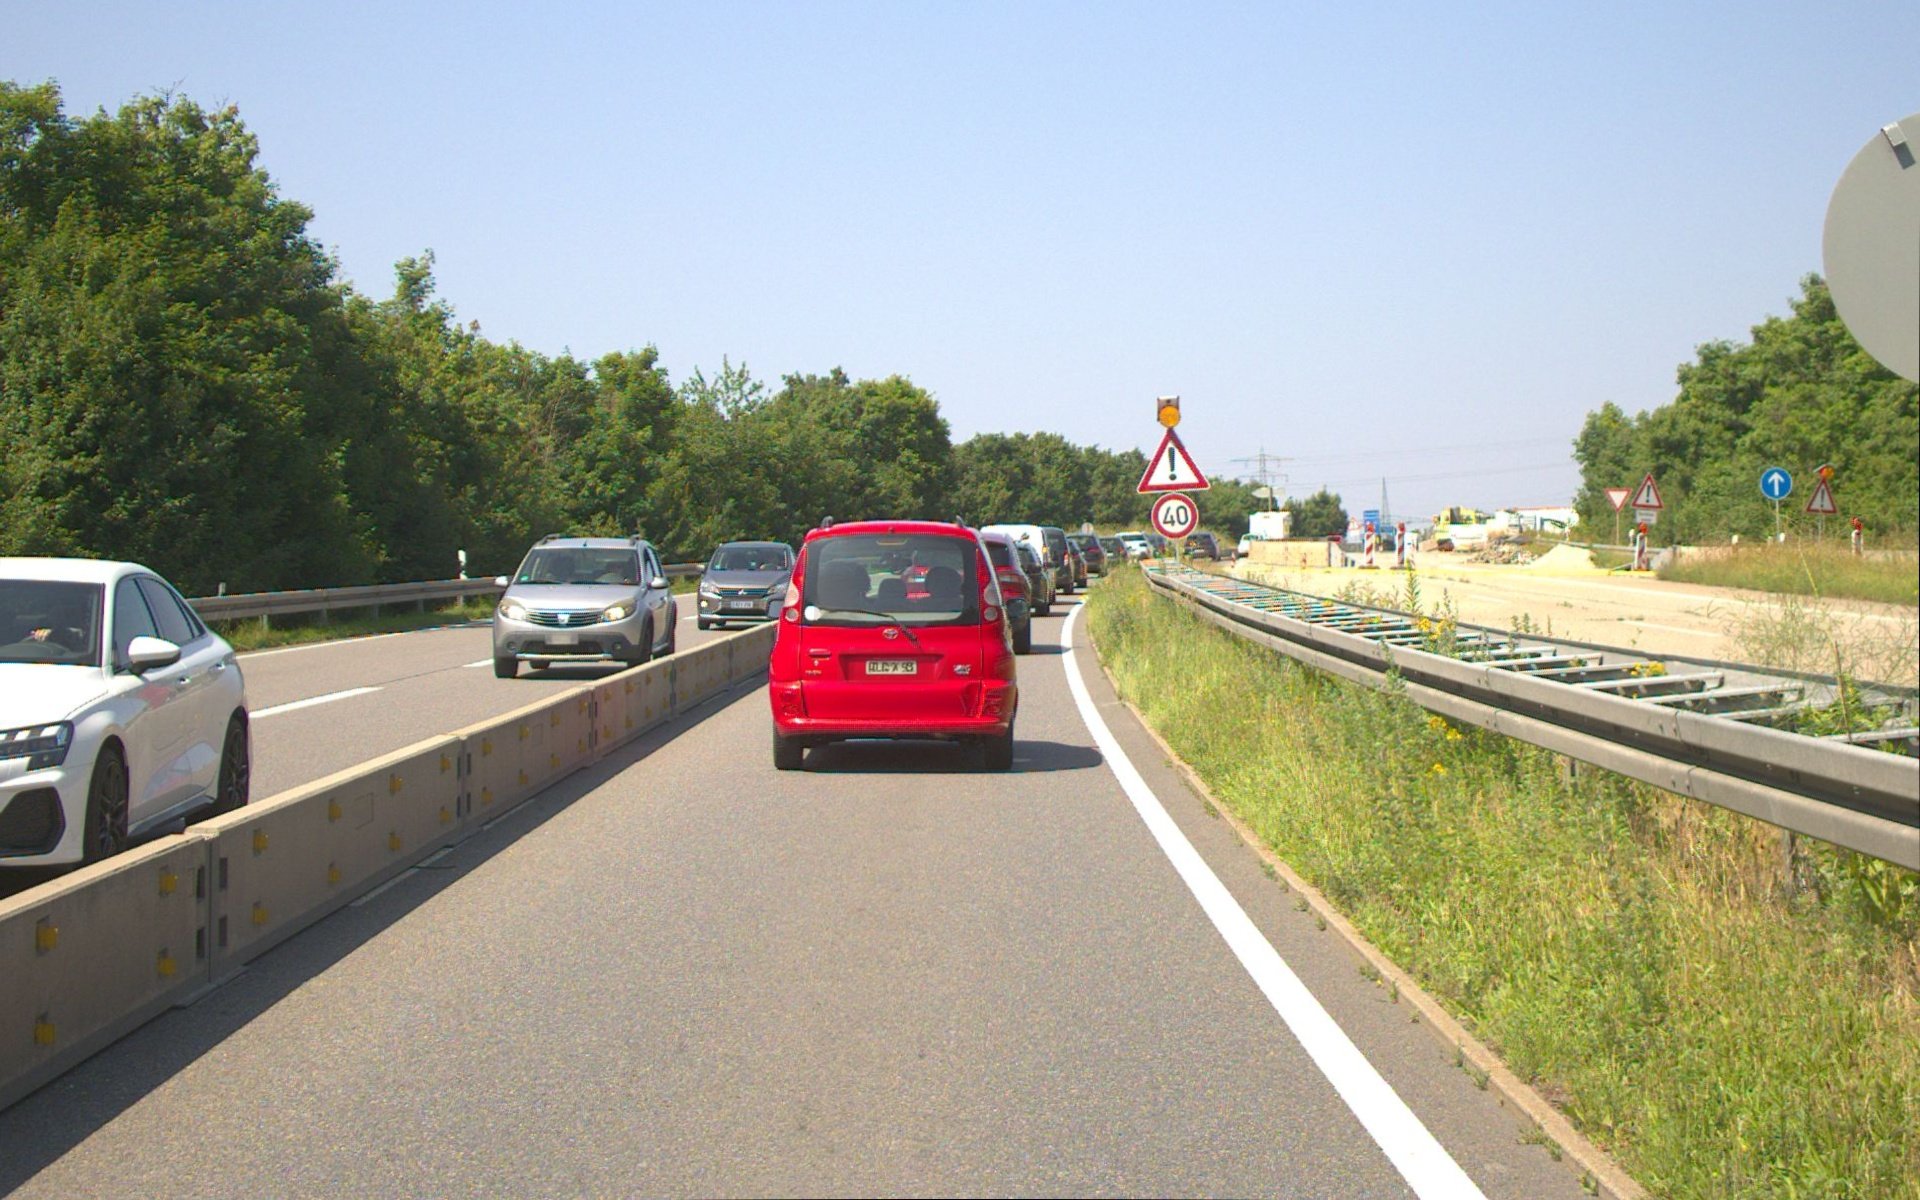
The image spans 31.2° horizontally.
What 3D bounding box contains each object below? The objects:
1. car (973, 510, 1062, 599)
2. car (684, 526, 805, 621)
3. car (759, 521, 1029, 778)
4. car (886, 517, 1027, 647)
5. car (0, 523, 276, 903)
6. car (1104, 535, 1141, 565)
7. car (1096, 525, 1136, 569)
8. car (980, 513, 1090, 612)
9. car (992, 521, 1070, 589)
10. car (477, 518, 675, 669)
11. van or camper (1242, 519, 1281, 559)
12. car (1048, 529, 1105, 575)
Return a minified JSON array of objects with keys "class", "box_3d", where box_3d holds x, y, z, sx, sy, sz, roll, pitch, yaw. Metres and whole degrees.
[{"class":"car","box_3d":[1.309,-1.070,79.726,1.993,1.997,4.000,0,1,1]},{"class":"car","box_3d":[-3.680,-0.461,59.344,1.948,1.573,4.436,0,1,-2]},{"class":"car","box_3d":[-0.475,0.286,24.292,1.751,1.667,4.000,0,1,-1]},{"class":"car","box_3d":[-0.088,-0.275,47.636,1.830,1.716,4.000,-1,1,-2]},{"class":"car","box_3d":[-4.587,0.418,16.119,1.948,1.533,4.436,0,1,-1]},{"class":"car","box_3d":[7.128,-2.193,150.557,1.421,1.294,2.878,-1,1,6]},{"class":"car","box_3d":[6.209,-2.101,136.818,1.502,1.730,3.169,1,1,4]},{"class":"car","box_3d":[1.433,-0.736,66.832,1.993,1.831,4.000,-1,1,0]},{"class":"car","box_3d":[1.878,-1.216,92.203,1.993,1.744,4.000,-1,1,0]},{"class":"car","box_3d":[-4.330,-0.094,39.290,1.829,1.624,3.784,0,1,0]},{"class":"van or camper","box_3d":[20.680,-4.178,236.100,2.328,2.697,4.593,-1,1,1]},{"class":"car","box_3d":[4.137,-1.697,121.712,1.994,1.579,4.000,0,1,3]}]
